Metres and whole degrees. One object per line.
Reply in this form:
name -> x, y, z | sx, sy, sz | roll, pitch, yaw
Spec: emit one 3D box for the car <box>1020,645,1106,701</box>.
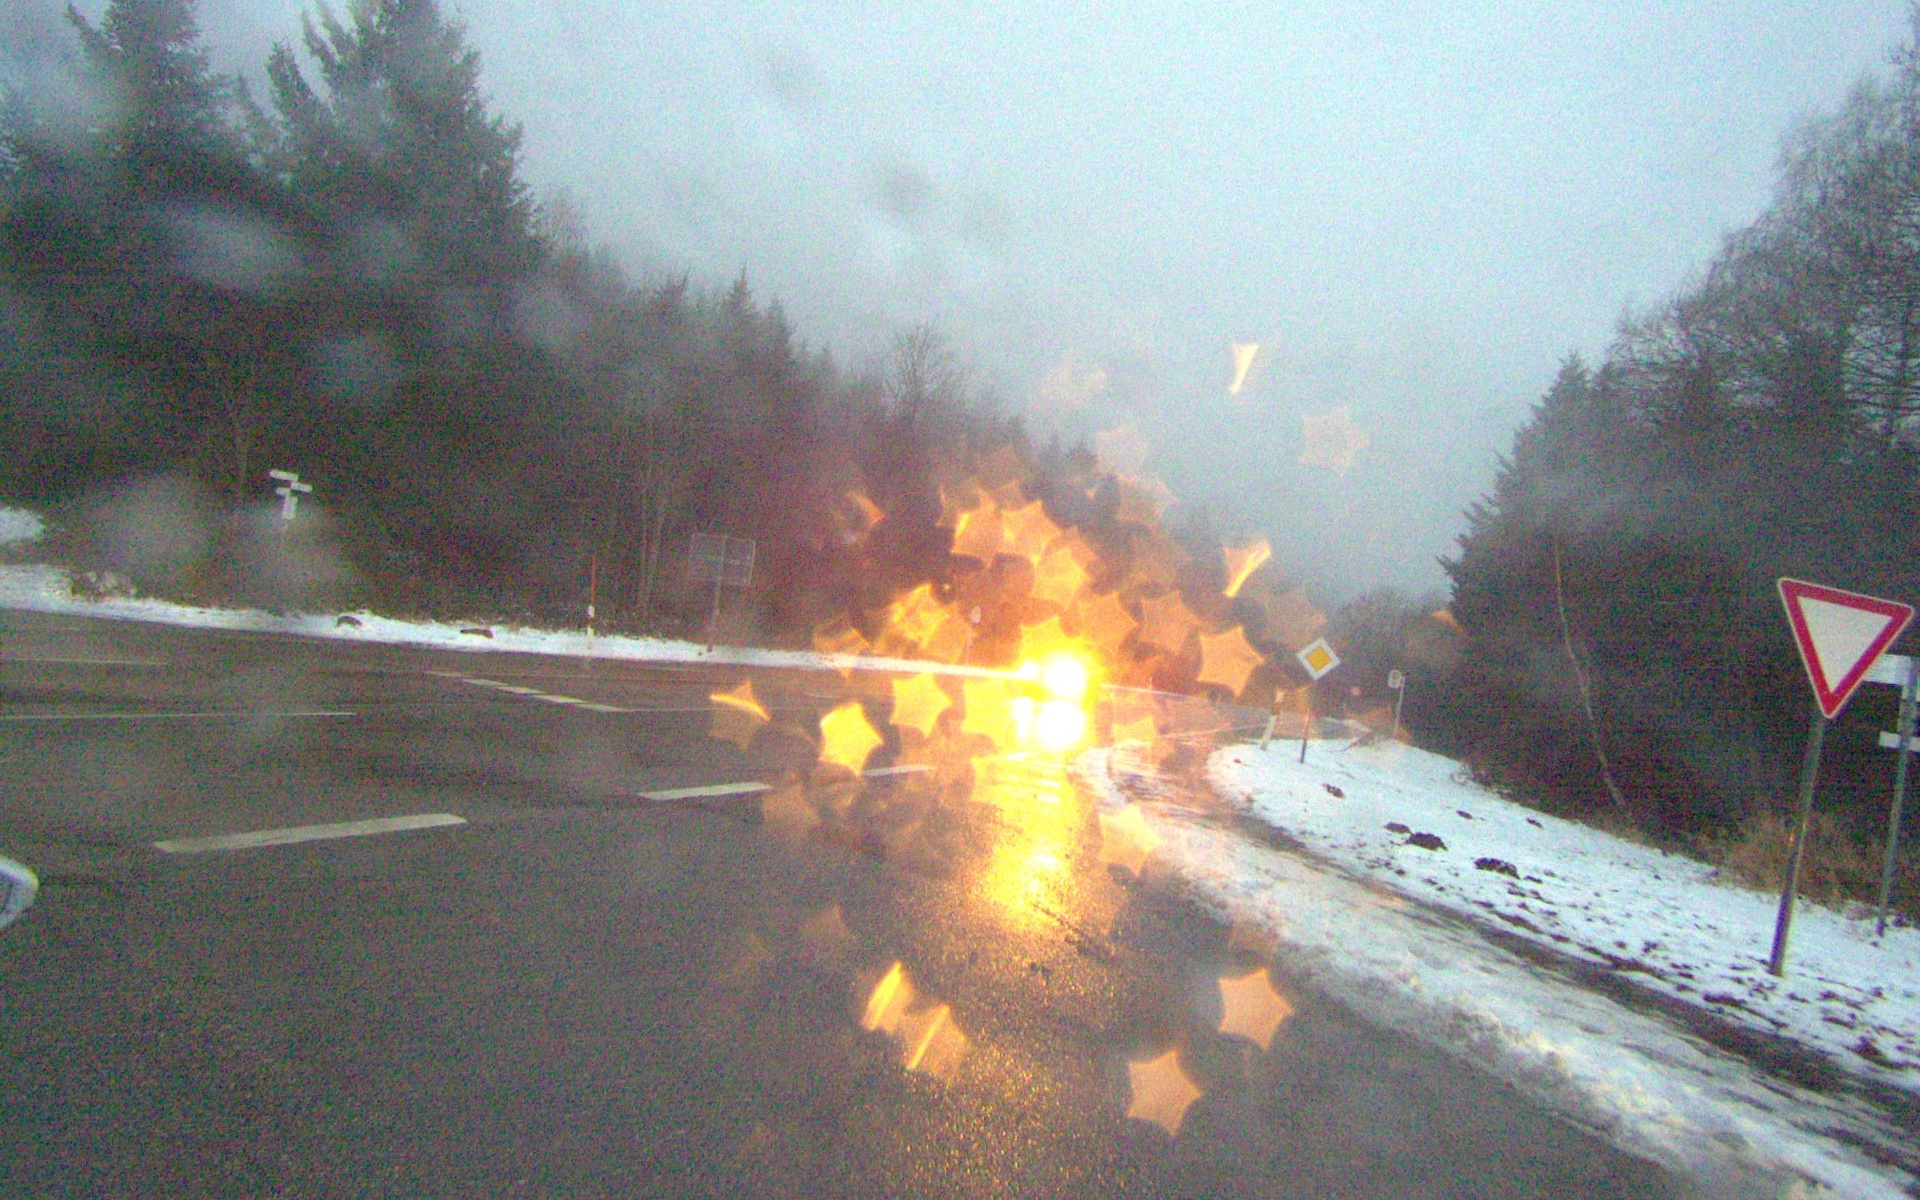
car -> 3.291, 2.312, 31.603 | 1.549, 1.469, 3.413 | 7, -2, 25
